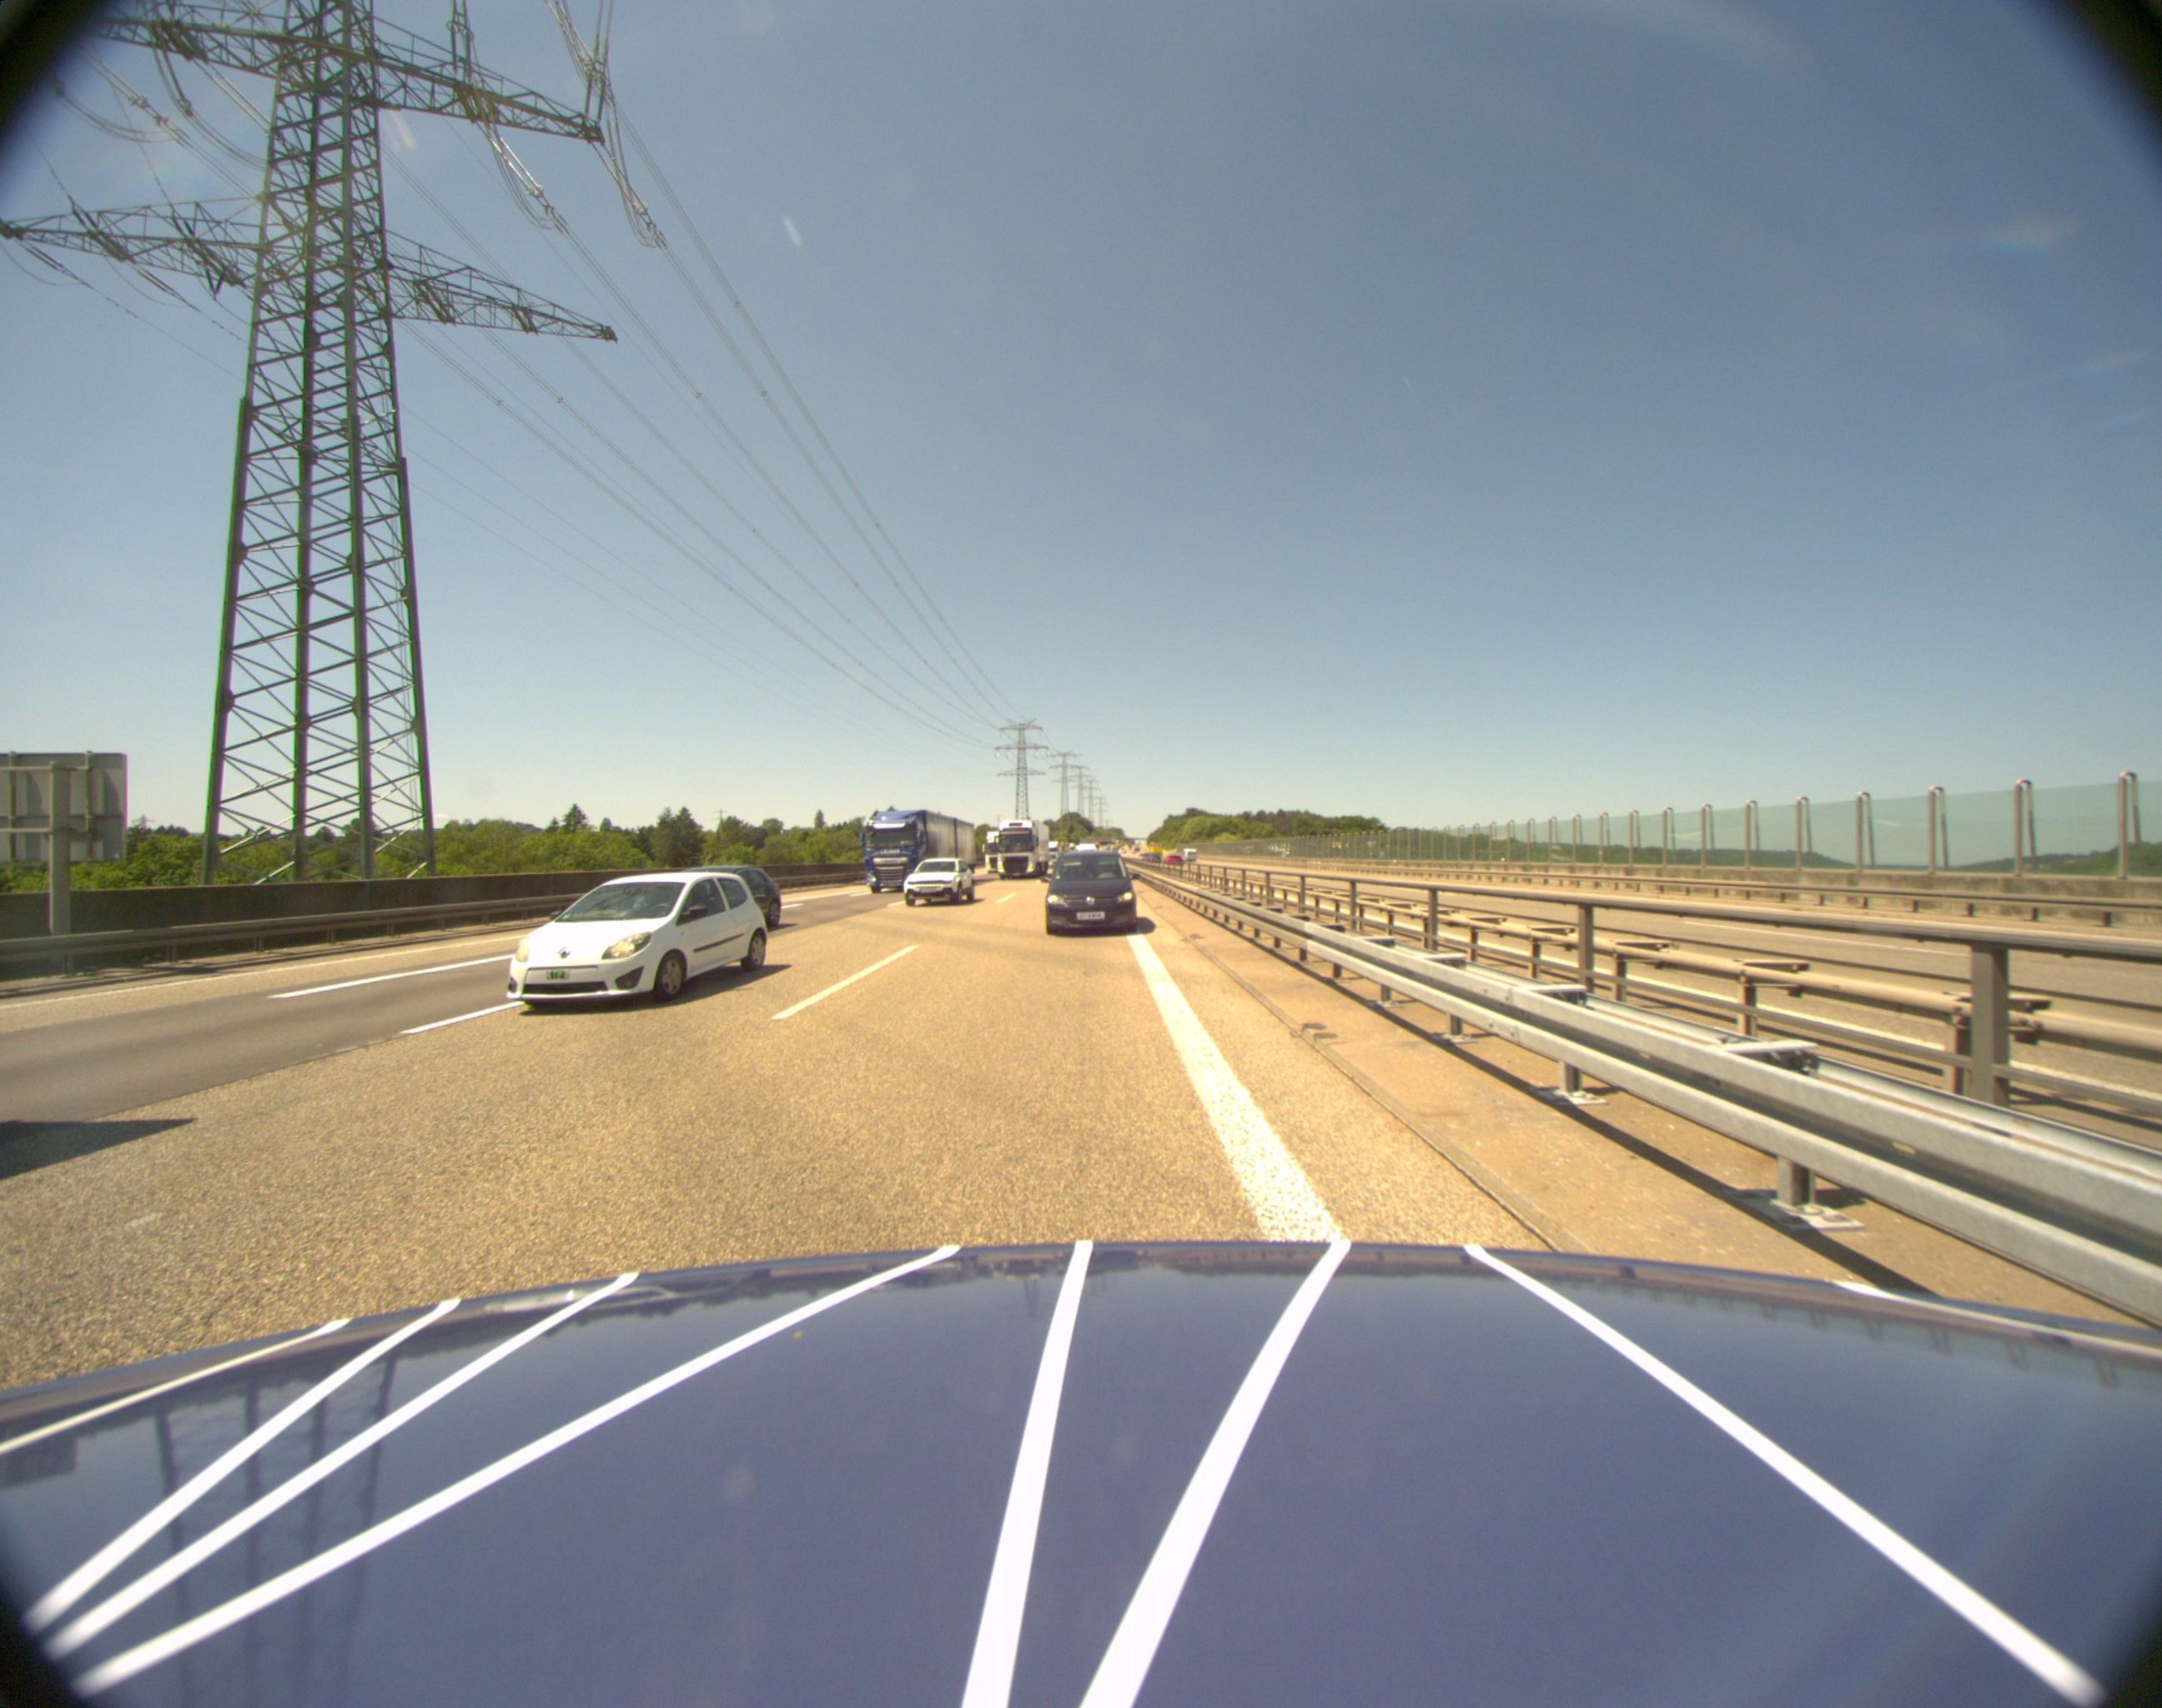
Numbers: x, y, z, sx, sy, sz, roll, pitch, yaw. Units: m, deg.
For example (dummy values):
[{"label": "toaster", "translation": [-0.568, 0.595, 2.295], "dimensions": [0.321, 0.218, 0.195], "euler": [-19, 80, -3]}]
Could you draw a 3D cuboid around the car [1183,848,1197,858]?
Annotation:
[{"label": "car", "translation": [19.388, -0.184, 134.860], "dimensions": [1.860, 1.536, 4.200], "euler": [1, 1, 0]}]

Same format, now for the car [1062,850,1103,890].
[{"label": "car", "translation": [0.063, 0.673, 33.457], "dimensions": [1.685, 1.607, 3.642], "euler": [-2, 0, 0]}]

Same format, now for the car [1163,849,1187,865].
[{"label": "car", "translation": [9.363, 0.311, 76.069], "dimensions": [1.846, 1.438, 4.418], "euler": [-2, 1, 1]}]

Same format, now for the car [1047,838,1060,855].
[{"label": "car", "translation": [-5.570, -1.539, 154.186], "dimensions": [2.273, 3.304, 6.288], "euler": [-2, 1, 0]}]

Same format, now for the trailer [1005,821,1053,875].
[{"label": "trailer", "translation": [-4.004, -0.542, 60.864], "dimensions": [2.898, 3.847, 9.773], "euler": [-2, 1, 1]}]

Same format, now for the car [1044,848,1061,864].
[{"label": "car", "translation": [-3.242, 0.198, 87.498], "dimensions": [1.672, 1.761, 3.846], "euler": [-2, 1, 1]}]

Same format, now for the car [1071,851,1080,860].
[{"label": "car", "translation": [-1.074, 0.275, 152.315], "dimensions": [1.701, 1.599, 3.639], "euler": [-2, 1, 1]}]

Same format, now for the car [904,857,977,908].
[{"label": "car", "translation": [-4.682, 0.912, 25.804], "dimensions": [1.722, 1.526, 3.753], "euler": [-2, 0, 0]}]

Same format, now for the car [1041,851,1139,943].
[{"label": "car", "translation": [0.168, 0.782, 15.823], "dimensions": [1.739, 1.607, 3.911], "euler": [-2, 0, 0]}]

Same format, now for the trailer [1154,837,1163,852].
[{"label": "trailer", "translation": [22.057, -2.683, 216.645], "dimensions": [2.428, 4.040, 13.805], "euler": [0, 0, 4]}]

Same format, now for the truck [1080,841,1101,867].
[{"label": "truck", "translation": [1.007, -0.060, 83.210], "dimensions": [2.100, 2.700, 5.864], "euler": [-2, 1, 1]}]

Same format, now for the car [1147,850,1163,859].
[{"label": "car", "translation": [10.632, 0.066, 108.963], "dimensions": [1.901, 1.307, 4.371], "euler": [0, 0, 1]}]

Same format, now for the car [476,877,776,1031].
[{"label": "car", "translation": [-5.466, 1.094, 9.724], "dimensions": [1.584, 1.432, 3.629], "euler": [-2, 0, 0]}]

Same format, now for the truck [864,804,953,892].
[{"label": "truck", "translation": [-8.566, -0.298, 38.768], "dimensions": [2.517, 3.945, 7.927], "euler": [-2, 0, 1]}]

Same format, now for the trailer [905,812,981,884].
[{"label": "trailer", "translation": [-8.467, -0.430, 48.172], "dimensions": [2.543, 3.971, 10.883], "euler": [-2, 1, 1]}]

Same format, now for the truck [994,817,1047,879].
[{"label": "truck", "translation": [-4.053, -0.421, 52.590], "dimensions": [2.914, 3.870, 6.739], "euler": [-2, 1, 0]}]

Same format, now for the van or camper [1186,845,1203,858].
[{"label": "van or camper", "translation": [19.345, -0.423, 129.933], "dimensions": [1.998, 2.199, 5.536], "euler": [1, 1, 0]}]

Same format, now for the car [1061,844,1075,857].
[{"label": "car", "translation": [-2.022, -0.565, 118.149], "dimensions": [1.998, 2.002, 3.999], "euler": [-2, 1, 1]}]

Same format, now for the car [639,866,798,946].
[{"label": "car", "translation": [-8.174, 1.094, 17.541], "dimensions": [1.709, 1.497, 3.888], "euler": [-2, 0, 1]}]

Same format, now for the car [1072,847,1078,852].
[{"label": "car", "translation": [-1.722, -1.422, 236.060], "dimensions": [1.701, 1.599, 3.639], "euler": [-2, 1, 1]}]

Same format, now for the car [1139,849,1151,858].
[{"label": "car", "translation": [11.333, -0.130, 134.402], "dimensions": [1.845, 1.520, 3.558], "euler": [0, 0, 1]}]

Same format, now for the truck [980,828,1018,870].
[{"label": "truck", "translation": [-8.061, -0.541, 75.523], "dimensions": [2.914, 3.870, 6.739], "euler": [-2, 1, 0]}]
